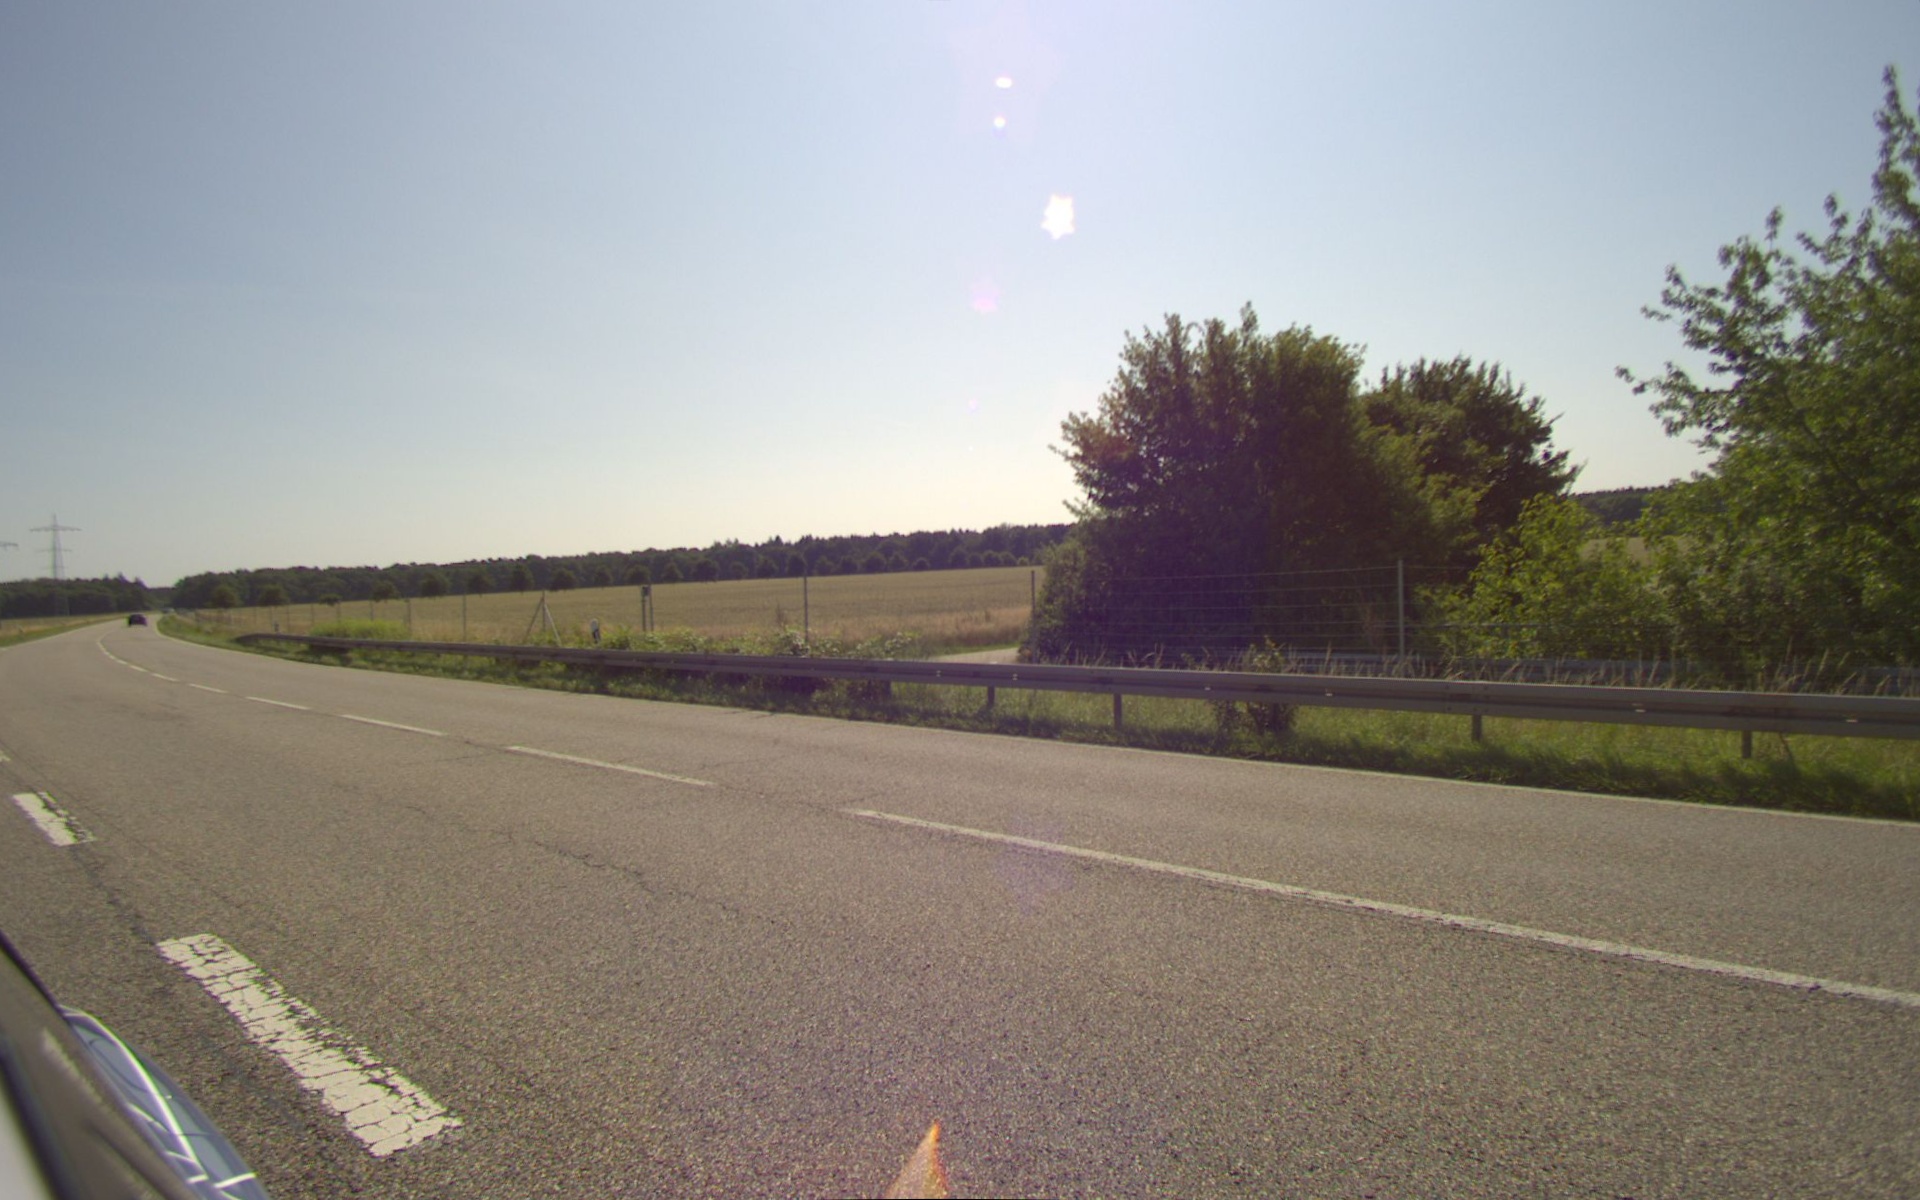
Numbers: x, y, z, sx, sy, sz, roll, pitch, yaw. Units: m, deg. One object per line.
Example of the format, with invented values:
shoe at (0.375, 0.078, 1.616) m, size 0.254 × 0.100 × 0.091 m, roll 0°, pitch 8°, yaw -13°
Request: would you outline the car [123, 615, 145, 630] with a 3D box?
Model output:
car at (-95.123, 2.600, 116.503) m, size 1.806 × 1.519 × 4.168 m, roll -2°, pitch 0°, yaw -40°
